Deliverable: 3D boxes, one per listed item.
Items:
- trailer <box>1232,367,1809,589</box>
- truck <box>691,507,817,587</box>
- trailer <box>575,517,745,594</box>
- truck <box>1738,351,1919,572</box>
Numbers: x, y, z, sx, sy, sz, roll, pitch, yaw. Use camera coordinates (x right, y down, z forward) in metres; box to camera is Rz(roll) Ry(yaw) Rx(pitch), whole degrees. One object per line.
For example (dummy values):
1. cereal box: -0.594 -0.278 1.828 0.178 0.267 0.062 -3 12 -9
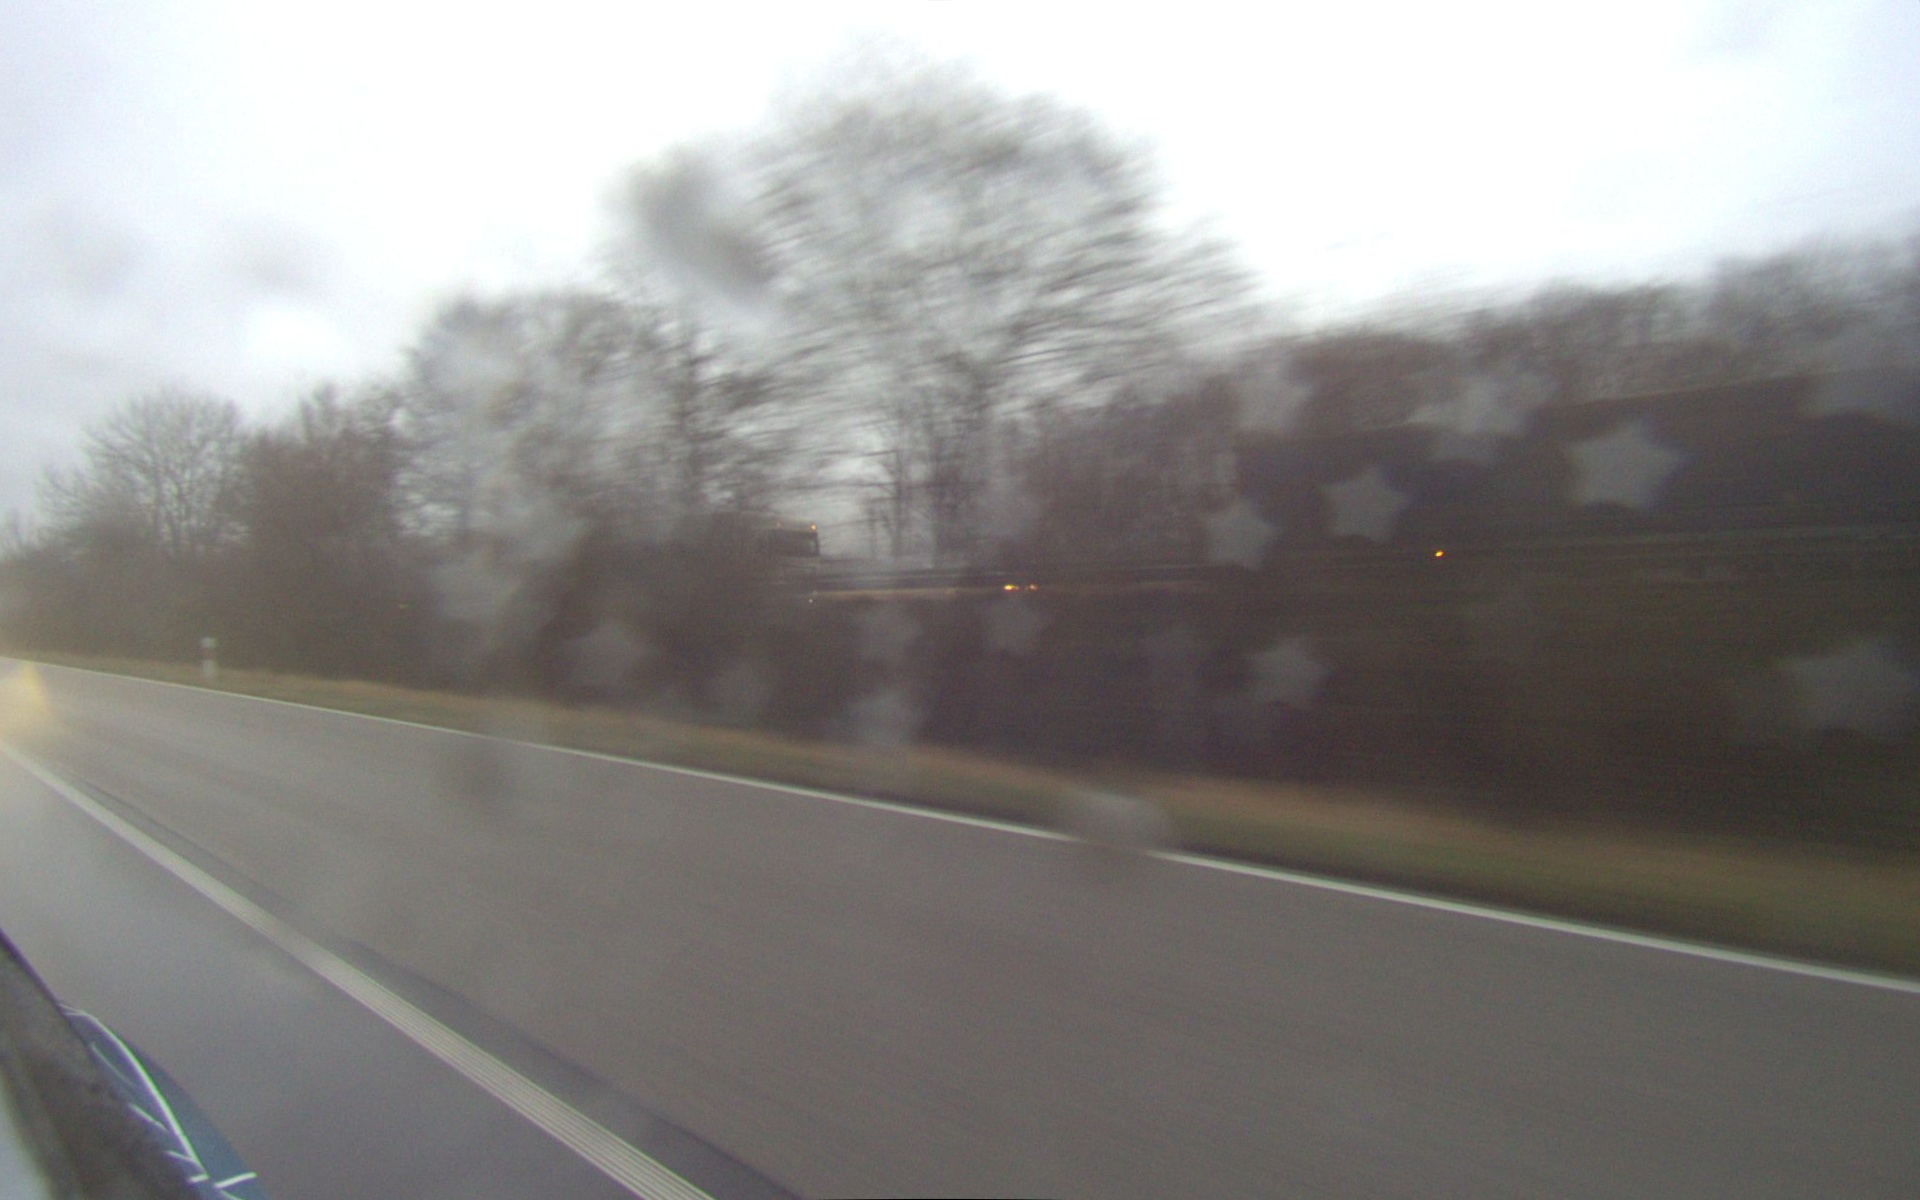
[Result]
1. trailer: 12.336 -2.311 23.676 11.383 3.661 2.966 -2 -2 42
2. truck: -8.825 -2.154 42.967 5.582 2.909 2.423 -2 -2 42
3. trailer: -14.515 -1.942 48.142 11.083 2.913 2.409 -2 -2 42
4. truck: 18.147 -2.531 18.411 6.065 3.660 2.960 -2 -2 42
